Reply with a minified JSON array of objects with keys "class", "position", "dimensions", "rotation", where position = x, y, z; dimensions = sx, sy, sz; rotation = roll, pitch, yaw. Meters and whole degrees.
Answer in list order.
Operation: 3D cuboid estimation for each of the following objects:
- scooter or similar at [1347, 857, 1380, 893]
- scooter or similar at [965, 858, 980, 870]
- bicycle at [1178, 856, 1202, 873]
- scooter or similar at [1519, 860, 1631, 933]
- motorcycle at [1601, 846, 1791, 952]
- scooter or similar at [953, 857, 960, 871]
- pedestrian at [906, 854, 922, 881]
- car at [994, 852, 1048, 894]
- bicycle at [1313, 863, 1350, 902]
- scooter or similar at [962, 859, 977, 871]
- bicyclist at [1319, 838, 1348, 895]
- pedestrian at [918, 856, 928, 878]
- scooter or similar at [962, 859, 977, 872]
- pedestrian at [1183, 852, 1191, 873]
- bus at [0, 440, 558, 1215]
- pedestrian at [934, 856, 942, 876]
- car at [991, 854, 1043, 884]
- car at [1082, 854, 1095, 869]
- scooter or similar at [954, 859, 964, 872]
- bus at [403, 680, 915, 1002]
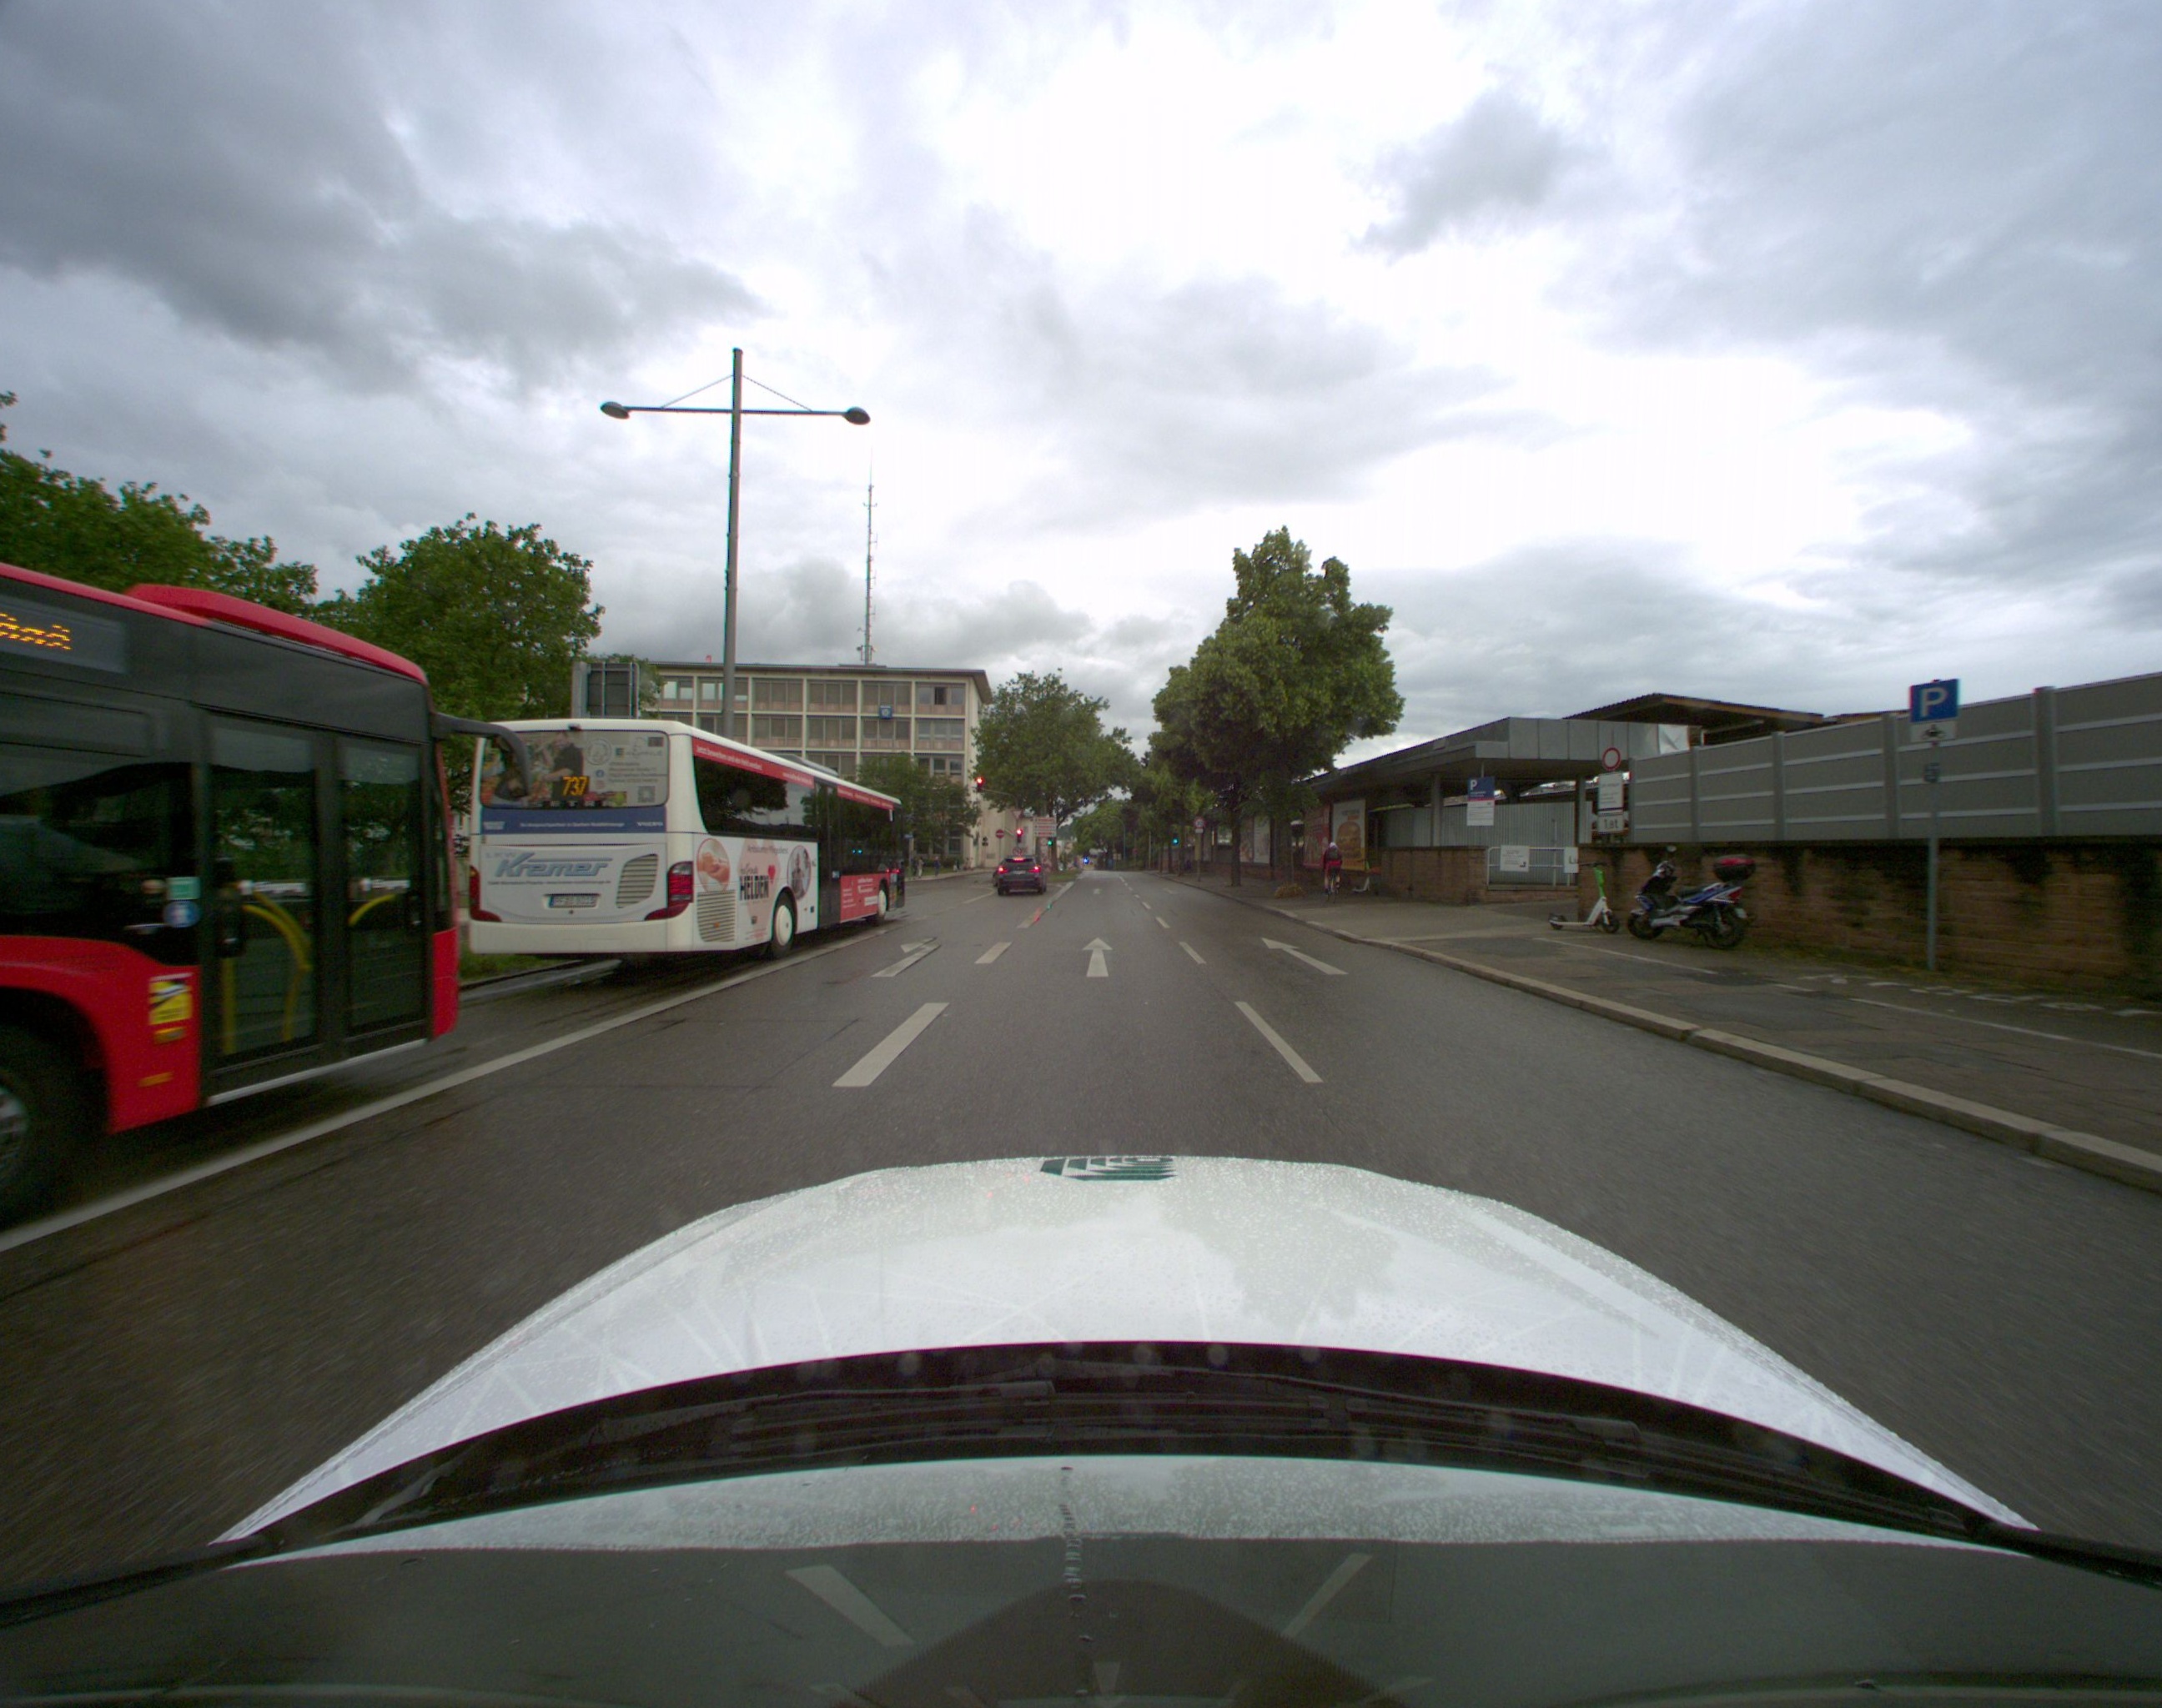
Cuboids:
[{"class":"scooter or similar","position":[9.246,0.678,26.704],"dimensions":[0.491,1.153,1.544],"rotation":[0,-1,-2]},{"class":"scooter or similar","position":[-10.717,0.951,80.342],"dimensions":[0.601,1.164,1.538],"rotation":[-1,-1,34]},{"class":"bicycle","position":[8.177,0.772,61.093],"dimensions":[1.703,1.249,0.489],"rotation":[-1,0,32]},{"class":"scooter or similar","position":[8.342,0.683,13.832],"dimensions":[0.494,1.153,1.704],"rotation":[0,-1,-19]},{"class":"motorcycle","position":[8.575,0.570,11.546],"dimensions":[0.789,1.348,2.455],"rotation":[0,0,-1]},{"class":"scooter or similar","position":[-11.033,0.891,72.153],"dimensions":[0.487,1.167,1.500],"rotation":[0,0,-3]},{"class":"pedestrian","position":[-12.774,1.046,62.262],"dimensions":[0.930,2.045,0.875],"rotation":[-1,-1,8]},{"class":"car","position":[-2.433,0.746,33.899],"dimensions":[1.958,1.640,4.357],"rotation":[-1,0,-1]},{"class":"bicycle","position":[6.956,0.776,22.674],"dimensions":[0.445,1.016,1.676],"rotation":[-3,0,-1]},{"class":"scooter or similar","position":[-10.814,1.051,79.017],"dimensions":[0.601,1.192,1.538],"rotation":[-1,-1,34]},{"class":"bicyclist","position":[7.010,0.341,22.651],"dimensions":[0.532,1.538,0.694],"rotation":[-2,-1,-2]},{"class":"pedestrian","position":[-12.281,1.034,63.372],"dimensions":[0.652,1.710,0.795],"rotation":[0,-1,-7]},{"class":"scooter or similar","position":[-10.631,1.067,77.701],"dimensions":[0.601,1.192,1.538],"rotation":[-1,-1,34]},{"class":"pedestrian","position":[7.915,0.646,60.720],"dimensions":[0.452,1.568,0.396],"rotation":[-1,0,32]},{"class":"bus","position":[-5.762,-0.098,2.239],"dimensions":[2.742,3.132,8.845],"rotation":[-1,0,1]},{"class":"pedestrian","position":[-11.252,0.942,64.067],"dimensions":[0.653,1.603,0.921],"rotation":[0,-1,-11]},{"class":"car","position":[-3.316,0.729,41.256],"dimensions":[1.819,1.409,4.391],"rotation":[0,0,-15]},{"class":"car","position":[1.362,1.256,144.190],"dimensions":[2.257,2.656,3.998],"rotation":[-1,0,-1]},{"class":"scooter or similar","position":[-11.017,1.033,73.766],"dimensions":[0.567,1.192,1.576],"rotation":[0,0,4]},{"class":"bus","position":[-5.805,-0.143,15.014],"dimensions":[2.946,3.439,12.555],"rotation":[0,0,0]}]
